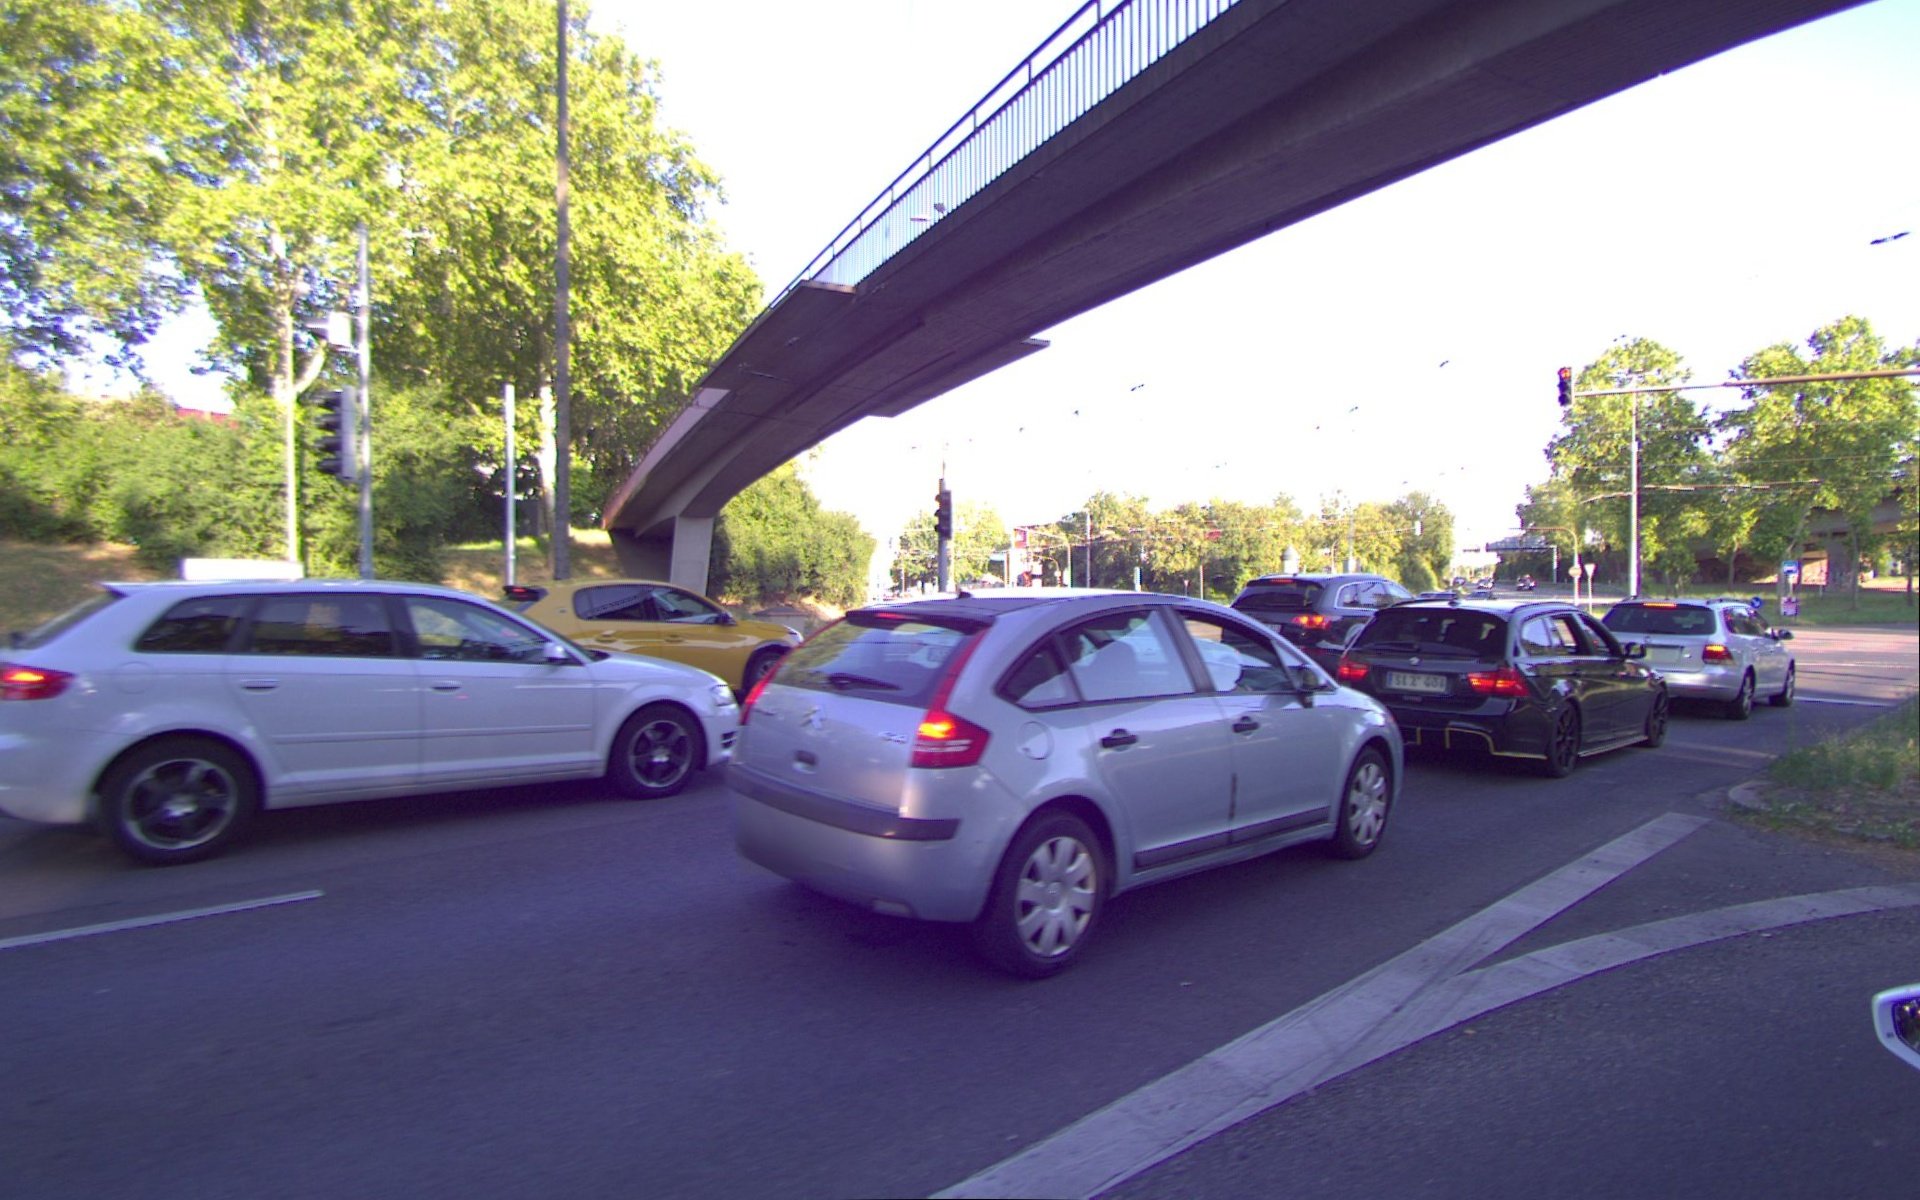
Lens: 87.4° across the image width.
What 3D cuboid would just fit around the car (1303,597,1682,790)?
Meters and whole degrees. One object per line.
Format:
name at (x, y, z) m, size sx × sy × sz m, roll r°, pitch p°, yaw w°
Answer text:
car at (5.183, 0.702, 9.479) m, size 4.443 × 1.401 × 1.776 m, roll 0°, pitch -2°, yaw -43°

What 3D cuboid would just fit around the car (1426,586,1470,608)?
car at (36.333, -0.253, 74.755) m, size 3.649 × 1.596 × 1.860 m, roll 0°, pitch 1°, yaw -44°

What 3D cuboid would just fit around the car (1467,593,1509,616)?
car at (42.826, 0.309, 81.465) m, size 3.972 × 1.796 × 1.860 m, roll 0°, pitch 1°, yaw -44°

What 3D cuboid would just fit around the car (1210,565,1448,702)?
car at (5.902, 0.476, 15.684) m, size 1.773 × 1.816 × 4.799 m, roll -2°, pitch -2°, yaw 42°

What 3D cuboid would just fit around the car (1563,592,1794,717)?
car at (9.896, 0.654, 13.729) m, size 3.970 × 1.461 × 1.776 m, roll 0°, pitch -2°, yaw -43°

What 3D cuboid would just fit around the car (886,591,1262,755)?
car at (1.423, 0.648, 11.177) m, size 4.379 × 1.451 × 1.725 m, roll 0°, pitch 1°, yaw -43°

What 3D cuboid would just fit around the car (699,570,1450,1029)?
car at (0.858, 0.676, 5.307) m, size 3.970 × 1.501 × 1.776 m, roll 0°, pitch -2°, yaw -43°

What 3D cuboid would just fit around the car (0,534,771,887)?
car at (-3.454, 0.514, 6.444) m, size 4.159 × 1.586 × 1.647 m, roll 0°, pitch -2°, yaw -43°

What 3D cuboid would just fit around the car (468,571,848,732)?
car at (-3.425, 0.530, 11.846) m, size 3.970 × 1.586 × 1.647 m, roll 0°, pitch -2°, yaw -43°

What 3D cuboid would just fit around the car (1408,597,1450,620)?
car at (39.023, 0.684, 83.485) m, size 3.972 × 1.796 × 1.860 m, roll 0°, pitch 1°, yaw -44°
